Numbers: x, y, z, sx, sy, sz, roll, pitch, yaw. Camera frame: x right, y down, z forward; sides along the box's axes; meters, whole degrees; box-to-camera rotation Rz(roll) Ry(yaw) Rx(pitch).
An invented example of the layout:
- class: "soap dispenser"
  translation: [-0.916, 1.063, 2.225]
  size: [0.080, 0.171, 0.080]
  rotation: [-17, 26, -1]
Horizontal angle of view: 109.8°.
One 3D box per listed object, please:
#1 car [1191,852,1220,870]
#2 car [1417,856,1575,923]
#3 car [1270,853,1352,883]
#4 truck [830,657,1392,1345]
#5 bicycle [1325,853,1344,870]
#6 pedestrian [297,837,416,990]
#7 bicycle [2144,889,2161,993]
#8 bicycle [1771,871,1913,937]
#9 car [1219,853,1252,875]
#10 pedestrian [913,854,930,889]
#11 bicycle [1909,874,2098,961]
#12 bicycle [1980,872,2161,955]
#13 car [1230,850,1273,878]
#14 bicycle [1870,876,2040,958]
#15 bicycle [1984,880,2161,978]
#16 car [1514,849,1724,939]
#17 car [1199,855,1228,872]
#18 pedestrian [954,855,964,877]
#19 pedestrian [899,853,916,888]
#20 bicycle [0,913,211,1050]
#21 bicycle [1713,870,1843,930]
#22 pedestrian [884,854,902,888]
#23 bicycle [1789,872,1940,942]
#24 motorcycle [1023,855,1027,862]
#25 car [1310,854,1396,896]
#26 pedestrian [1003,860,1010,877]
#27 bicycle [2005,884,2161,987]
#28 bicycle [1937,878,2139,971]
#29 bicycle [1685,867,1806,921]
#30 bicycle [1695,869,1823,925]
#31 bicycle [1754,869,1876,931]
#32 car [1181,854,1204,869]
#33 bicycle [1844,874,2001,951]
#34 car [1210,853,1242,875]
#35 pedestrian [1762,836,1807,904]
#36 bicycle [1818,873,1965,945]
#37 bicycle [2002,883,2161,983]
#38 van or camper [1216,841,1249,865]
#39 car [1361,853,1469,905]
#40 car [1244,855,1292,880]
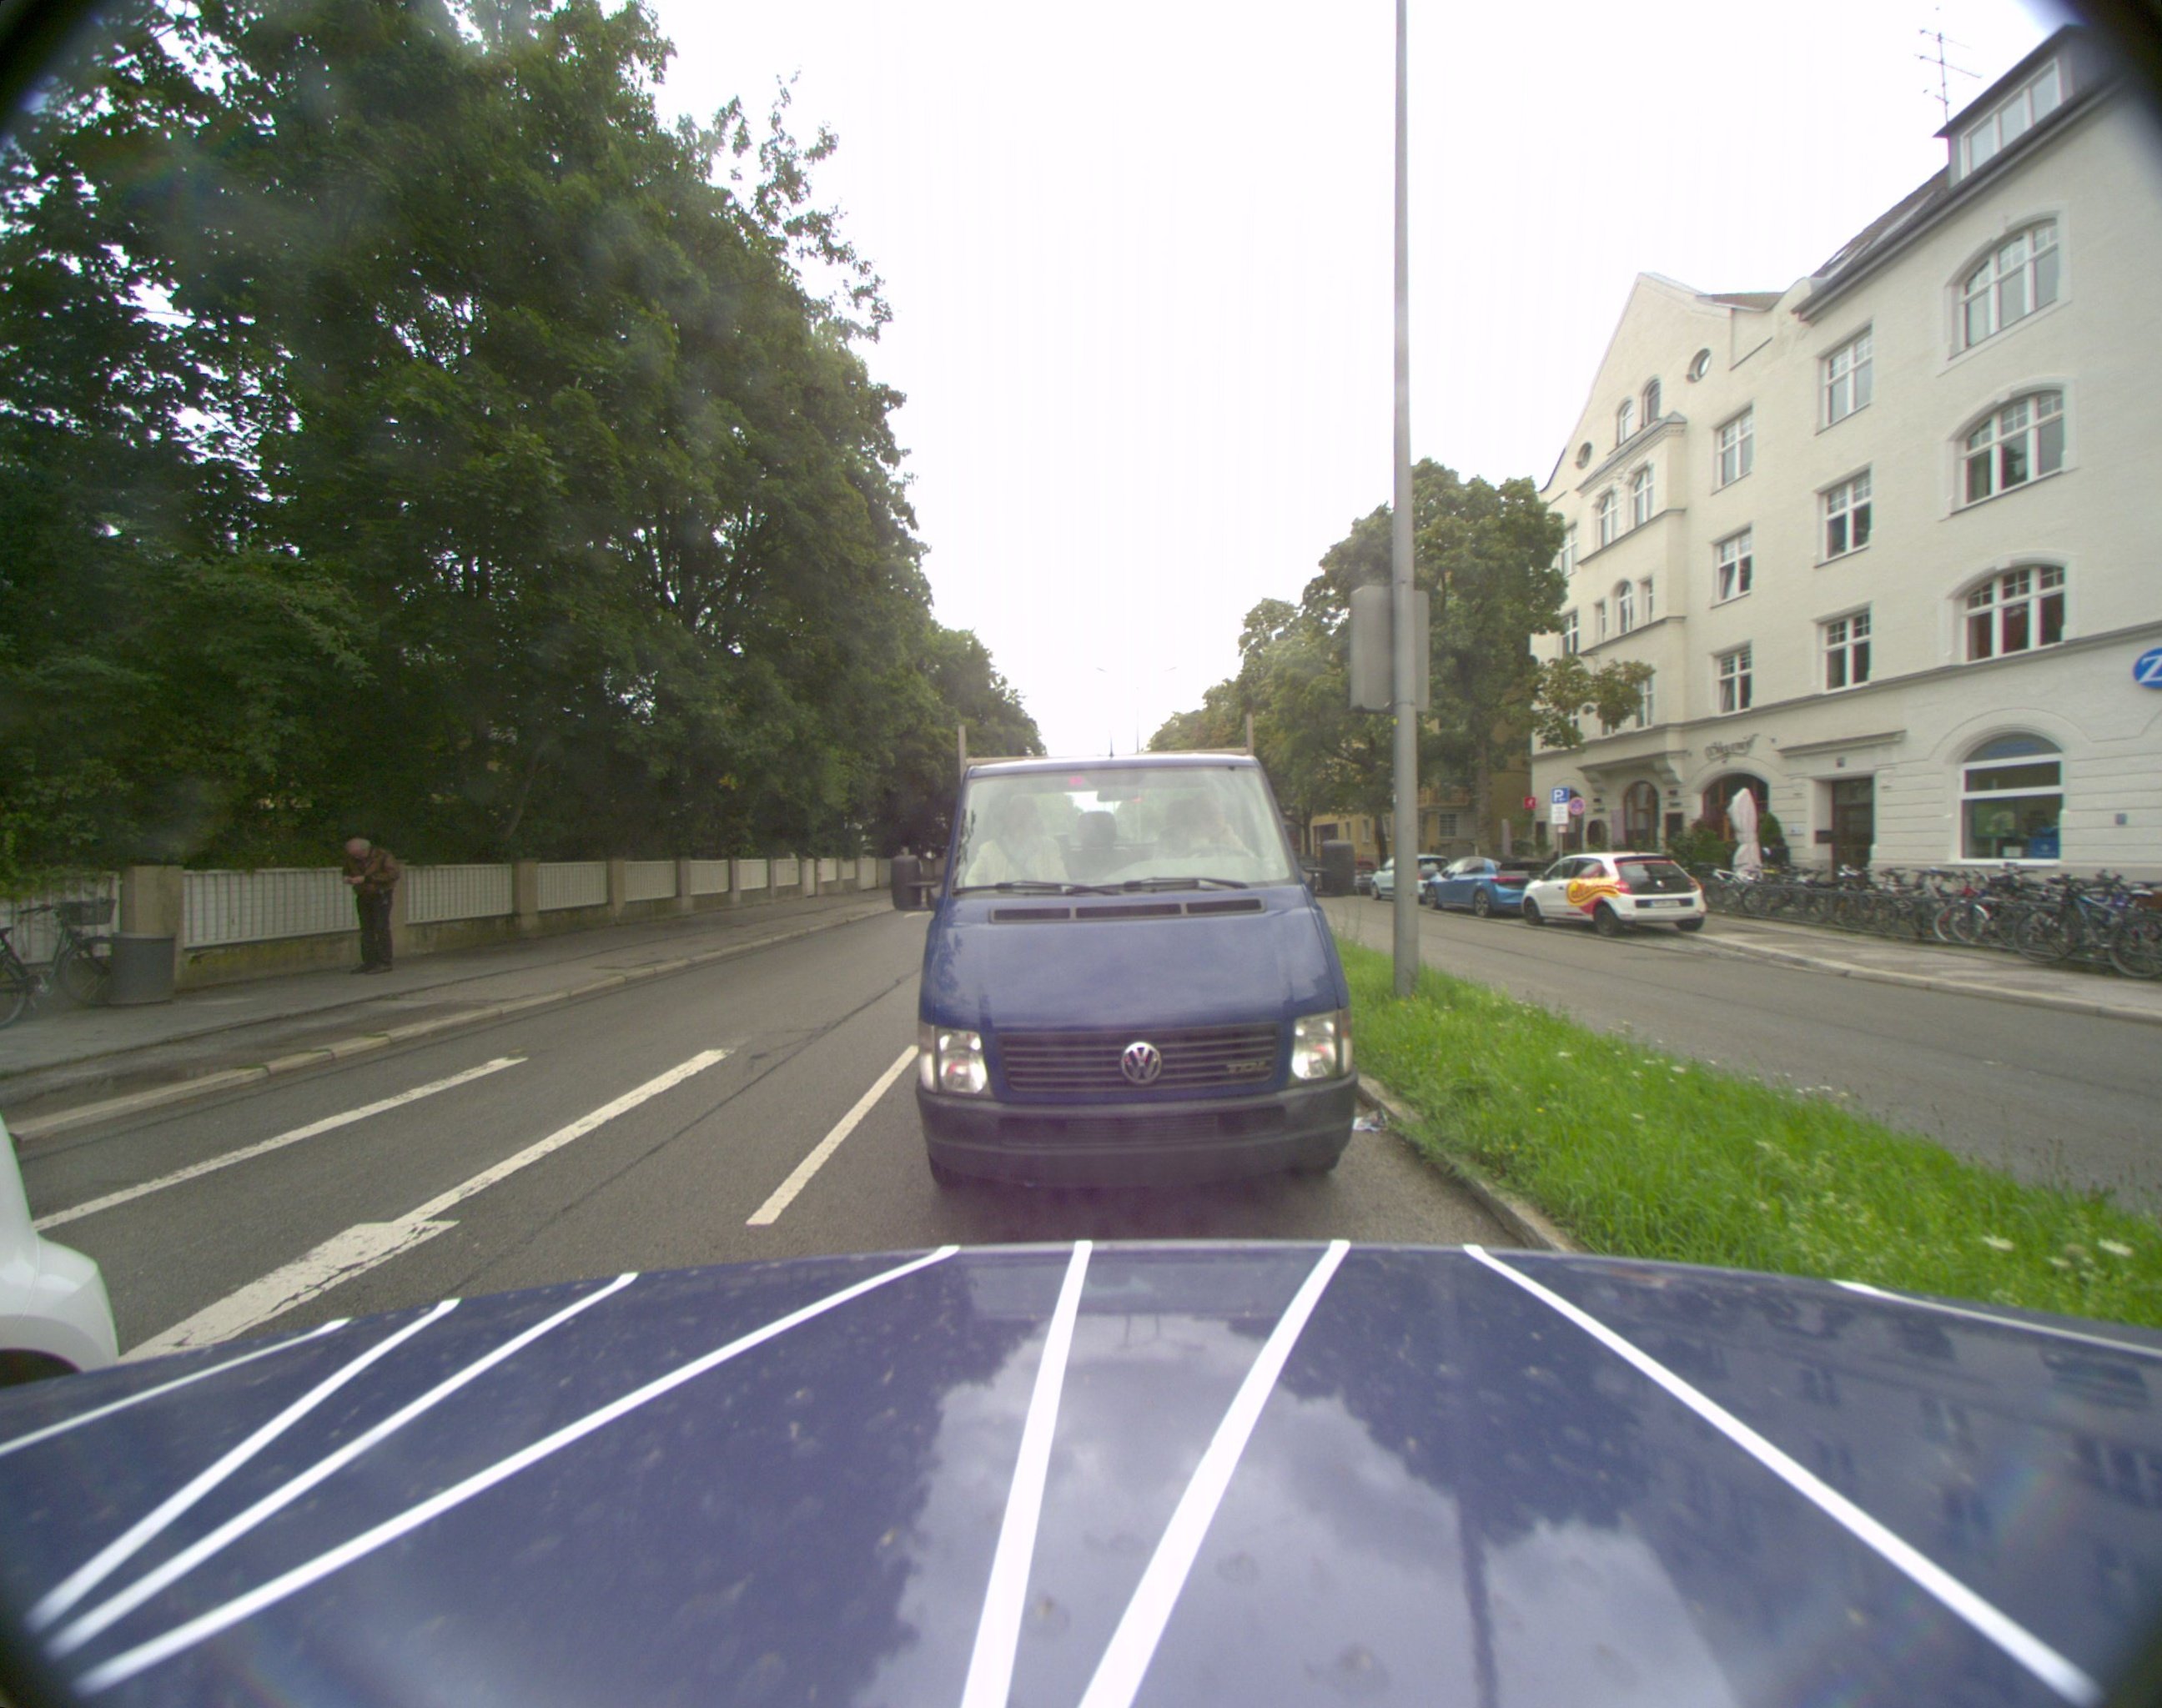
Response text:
- class: "car"
  translation: [11.377, 0.612, 69.700]
  size: [1.883, 1.636, 4.770]
  rotation: [-1, 0, 1]
- class: "car"
  translation: [10.674, 0.841, 19.950]
  size: [1.815, 1.498, 4.291]
  rotation: [-1, 0, 1]
- class: "car"
  translation: [12.520, 0.740, 41.434]
  size: [3.899, 1.455, 1.732]
  rotation: [-2, 0, -1]
- class: "truck"
  translation: [0.150, 0.535, 5.326]
  size: [1.998, 2.475, 5.151]
  rotation: [-1, 0, 1]
- class: "bicycle"
  translation: [19.321, 0.576, 57.893]
  size: [0.771, 1.215, 1.930]
  rotation: [-1, 0, 0]
- class: "pedestrian"
  translation: [-9.523, 0.754, 10.016]
  size: [0.779, 1.931, 0.802]
  rotation: [0, 1, 1]
- class: "bicycle"
  translation: [12.091, 0.939, 7.594]
  size: [0.331, 1.109, 1.678]
  rotation: [-1, 0, -23]
- class: "bicycle"
  translation: [14.001, 0.879, 14.054]
  size: [0.331, 1.109, 1.871]
  rotation: [-1, 0, -23]
- class: "car"
  translation: [11.143, 0.709, 54.963]
  size: [1.731, 1.549, 3.009]
  rotation: [-1, 0, -1]
- class: "pedestrian"
  translation: [-7.926, 0.847, 37.766]
  size: [0.668, 1.695, 0.766]
  rotation: [1, 1, 0]
- class: "bicycle"
  translation: [13.078, 0.859, 10.845]
  size: [0.383, 1.109, 1.678]
  rotation: [-1, 0, -23]
- class: "bicycle"
  translation: [14.764, 0.842, 11.370]
  size: [0.331, 1.109, 1.678]
  rotation: [-1, 0, -23]
- class: "car"
  translation: [11.259, 0.641, 50.485]
  size: [1.815, 1.718, 4.767]
  rotation: [-1, 0, 1]
- class: "bicycle"
  translation: [13.207, 0.911, 11.545]
  size: [0.331, 1.109, 1.678]
  rotation: [-1, 0, -23]
- class: "bicycle"
  translation: [12.669, 0.907, 9.547]
  size: [0.367, 1.109, 1.678]
  rotation: [-1, 0, -23]
- class: "car"
  translation: [10.586, 0.697, 15.309]
  size: [1.653, 1.576, 3.790]
  rotation: [-1, 0, 2]
- class: "car"
  translation: [11.084, 0.772, 63.904]
  size: [1.731, 1.398, 4.363]
  rotation: [-1, 0, 1]
- class: "pedestrian"
  translation: [-8.763, 0.864, 54.536]
  size: [0.529, 1.572, 0.729]
  rotation: [1, 1, 0]
- class: "pedestrian"
  translation: [-8.612, 0.803, 37.730]
  size: [0.668, 1.695, 0.766]
  rotation: [1, 1, 0]
- class: "bicycle"
  translation: [-9.853, 1.191, 7.299]
  size: [0.624, 1.084, 2.026]
  rotation: [-1, 0, 0]
- class: "bicycle"
  translation: [14.242, 0.906, 15.588]
  size: [0.550, 1.109, 1.877]
  rotation: [-1, 0, -31]
- class: "pedestrian"
  translation: [-9.321, 0.831, 37.722]
  size: [0.668, 1.695, 0.766]
  rotation: [1, 1, 0]
- class: "bicycle"
  translation: [13.815, 0.896, 13.475]
  size: [0.331, 1.109, 1.871]
  rotation: [-1, 0, -23]
- class: "motorcycle"
  translation: [-8.933, 0.697, 121.530]
  size: [0.497, 1.135, 1.631]
  rotation: [-1, 0, -10]
- class: "car"
  translation: [10.825, 0.782, 30.572]
  size: [1.815, 1.498, 4.645]
  rotation: [-1, 0, 1]
- class: "pedestrian"
  translation: [-6.960, 1.330, 70.700]
  size: [0.529, 1.572, 0.729]
  rotation: [1, 1, 0]
- class: "bicycle"
  translation: [12.100, 0.931, 8.841]
  size: [0.368, 1.109, 1.678]
  rotation: [-1, 0, -23]
- class: "bicycle"
  translation: [12.836, 0.902, 10.266]
  size: [0.331, 1.109, 1.678]
  rotation: [-1, 0, -23]
- class: "bicycle"
  translation: [14.672, 0.849, 16.842]
  size: [0.460, 1.109, 1.961]
  rotation: [-1, 0, -31]
- class: "bicycle"
  translation: [14.425, 0.882, 16.241]
  size: [0.505, 1.109, 1.984]
  rotation: [-1, 0, -31]
- class: "bicycle"
  translation: [14.205, 0.861, 14.756]
  size: [0.331, 1.109, 1.677]
  rotation: [-1, 0, -27]
- class: "car"
  translation: [11.090, 0.730, 75.725]
  size: [1.696, 1.446, 4.492]
  rotation: [-1, 0, 1]
- class: "bicycle"
  translation: [13.440, 0.896, 12.203]
  size: [0.331, 1.109, 1.678]
  rotation: [-1, 0, -23]
- class: "car"
  translation: [11.286, 0.752, 59.260]
  size: [1.731, 1.552, 4.057]
  rotation: [-1, 0, 1]
- class: "pedestrian"
  translation: [17.189, 0.392, 18.585]
  size: [0.422, 1.622, 0.783]
  rotation: [-1, 1, 7]
- class: "bicycle"
  translation: [13.628, 0.889, 12.839]
  size: [0.331, 1.109, 1.678]
  rotation: [-1, 0, -23]
- class: "bicycle"
  translation: [12.407, 0.928, 9.131]
  size: [0.331, 1.109, 1.678]
  rotation: [-1, 0, -23]
- class: "van or camper"
  translation: [16.948, -0.152, 85.285]
  size: [2.351, 2.564, 6.851]
  rotation: [-1, 0, 1]
- class: "car"
  translation: [10.765, 0.749, 24.836]
  size: [1.815, 1.498, 3.960]
  rotation: [-1, 0, 1]
- class: "car"
  translation: [10.976, 0.753, 44.868]
  size: [1.731, 1.394, 4.404]
  rotation: [-1, 0, 1]
